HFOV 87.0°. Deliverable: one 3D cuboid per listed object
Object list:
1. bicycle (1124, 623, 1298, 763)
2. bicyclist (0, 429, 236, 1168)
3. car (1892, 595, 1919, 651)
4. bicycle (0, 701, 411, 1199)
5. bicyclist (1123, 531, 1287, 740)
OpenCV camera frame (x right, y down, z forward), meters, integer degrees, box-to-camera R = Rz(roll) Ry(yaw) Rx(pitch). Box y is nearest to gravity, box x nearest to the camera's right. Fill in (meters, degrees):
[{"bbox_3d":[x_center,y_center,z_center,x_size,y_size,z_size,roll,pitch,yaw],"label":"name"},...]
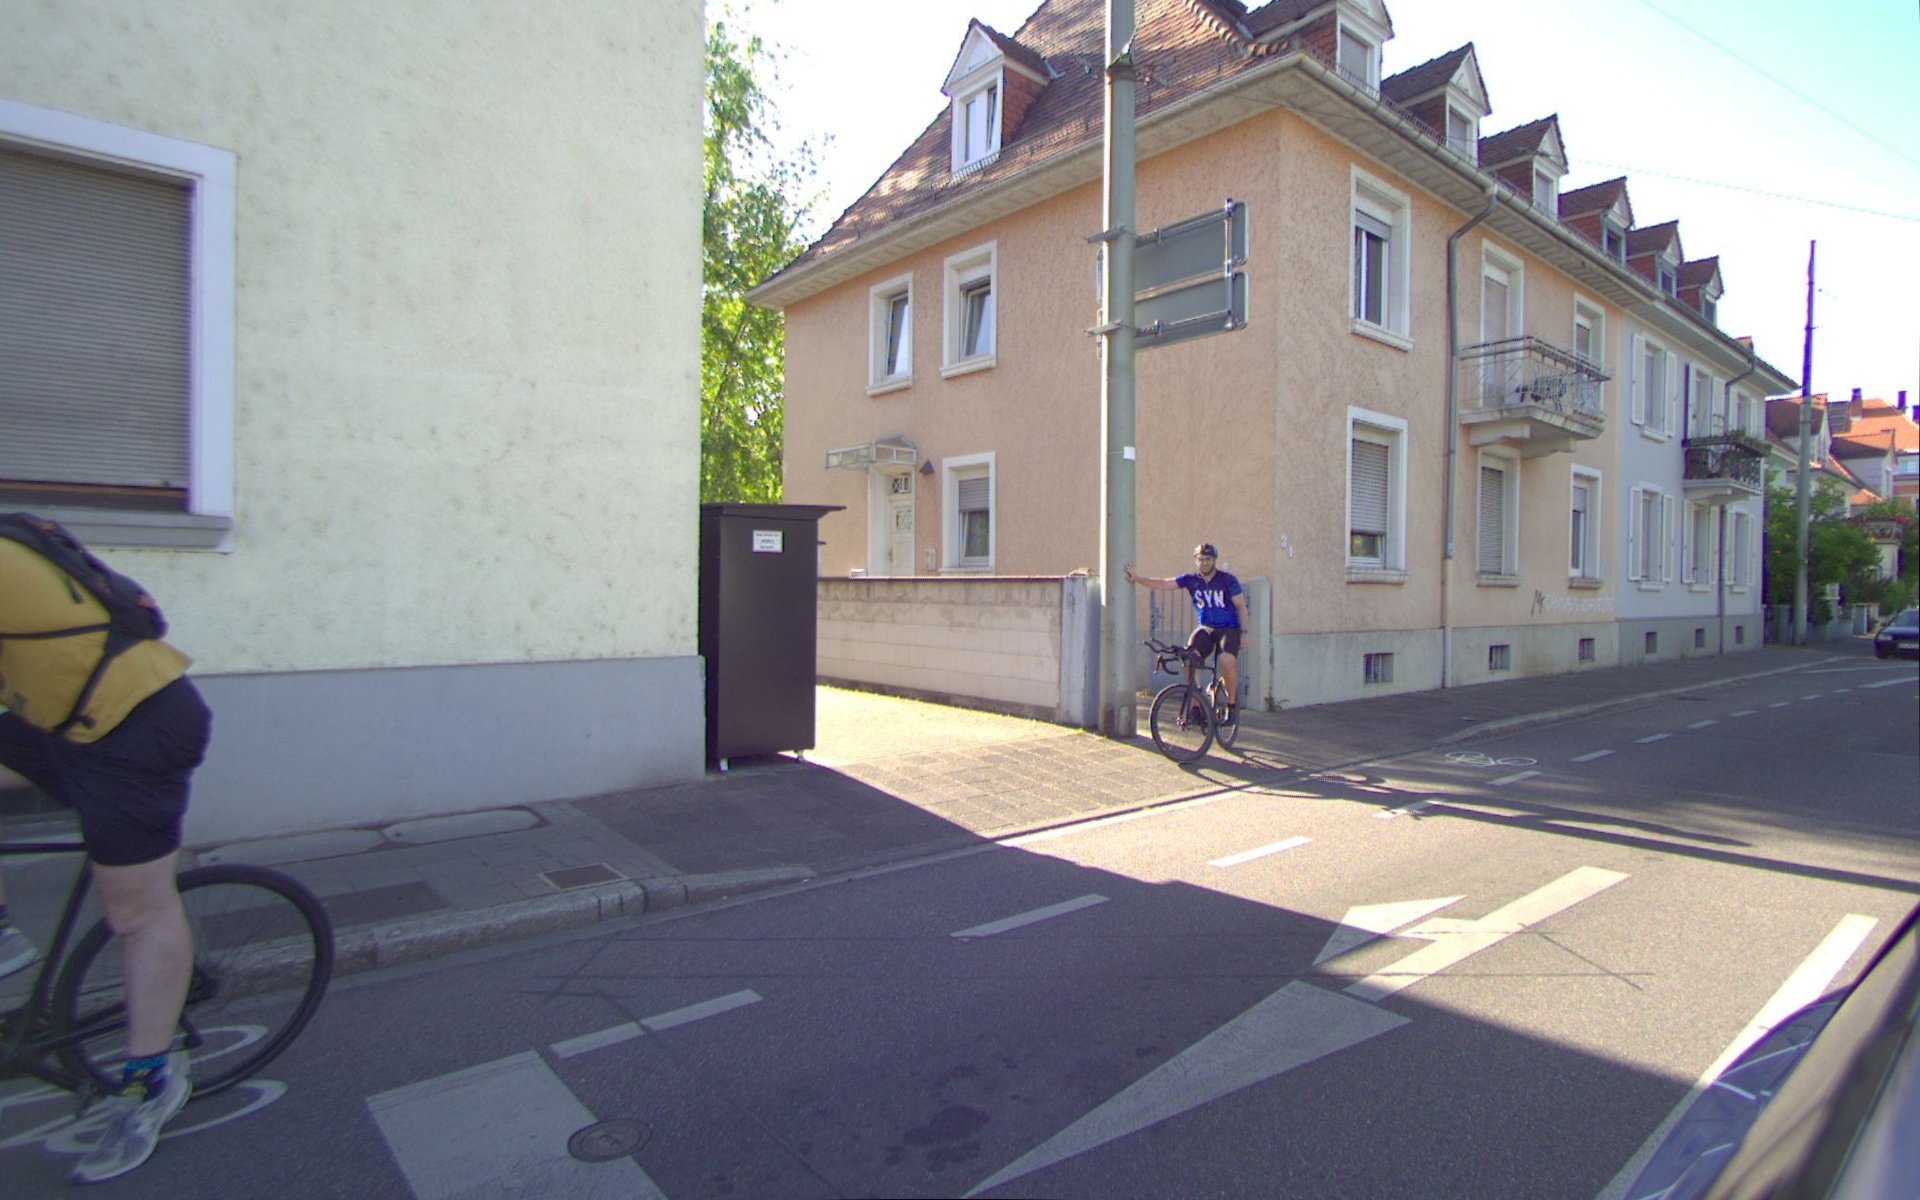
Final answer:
[{"bbox_3d":[2.303,0.795,9.171,1.689,1.064,0.595,0,6,-41],"label":"bicycle"},{"bbox_3d":[-2.463,0.465,2.594,0.939,1.743,0.582,0,0,-41],"label":"bicyclist"},{"bbox_3d":[26.652,0.613,27.318,3.932,1.438,1.845,0,1,-42],"label":"car"},{"bbox_3d":[-2.456,0.897,2.571,1.778,1.101,0.611,0,1,-41],"label":"bicycle"},{"bbox_3d":[2.269,0.285,9.443,0.838,1.758,1.072,0,6,-40],"label":"bicyclist"}]
